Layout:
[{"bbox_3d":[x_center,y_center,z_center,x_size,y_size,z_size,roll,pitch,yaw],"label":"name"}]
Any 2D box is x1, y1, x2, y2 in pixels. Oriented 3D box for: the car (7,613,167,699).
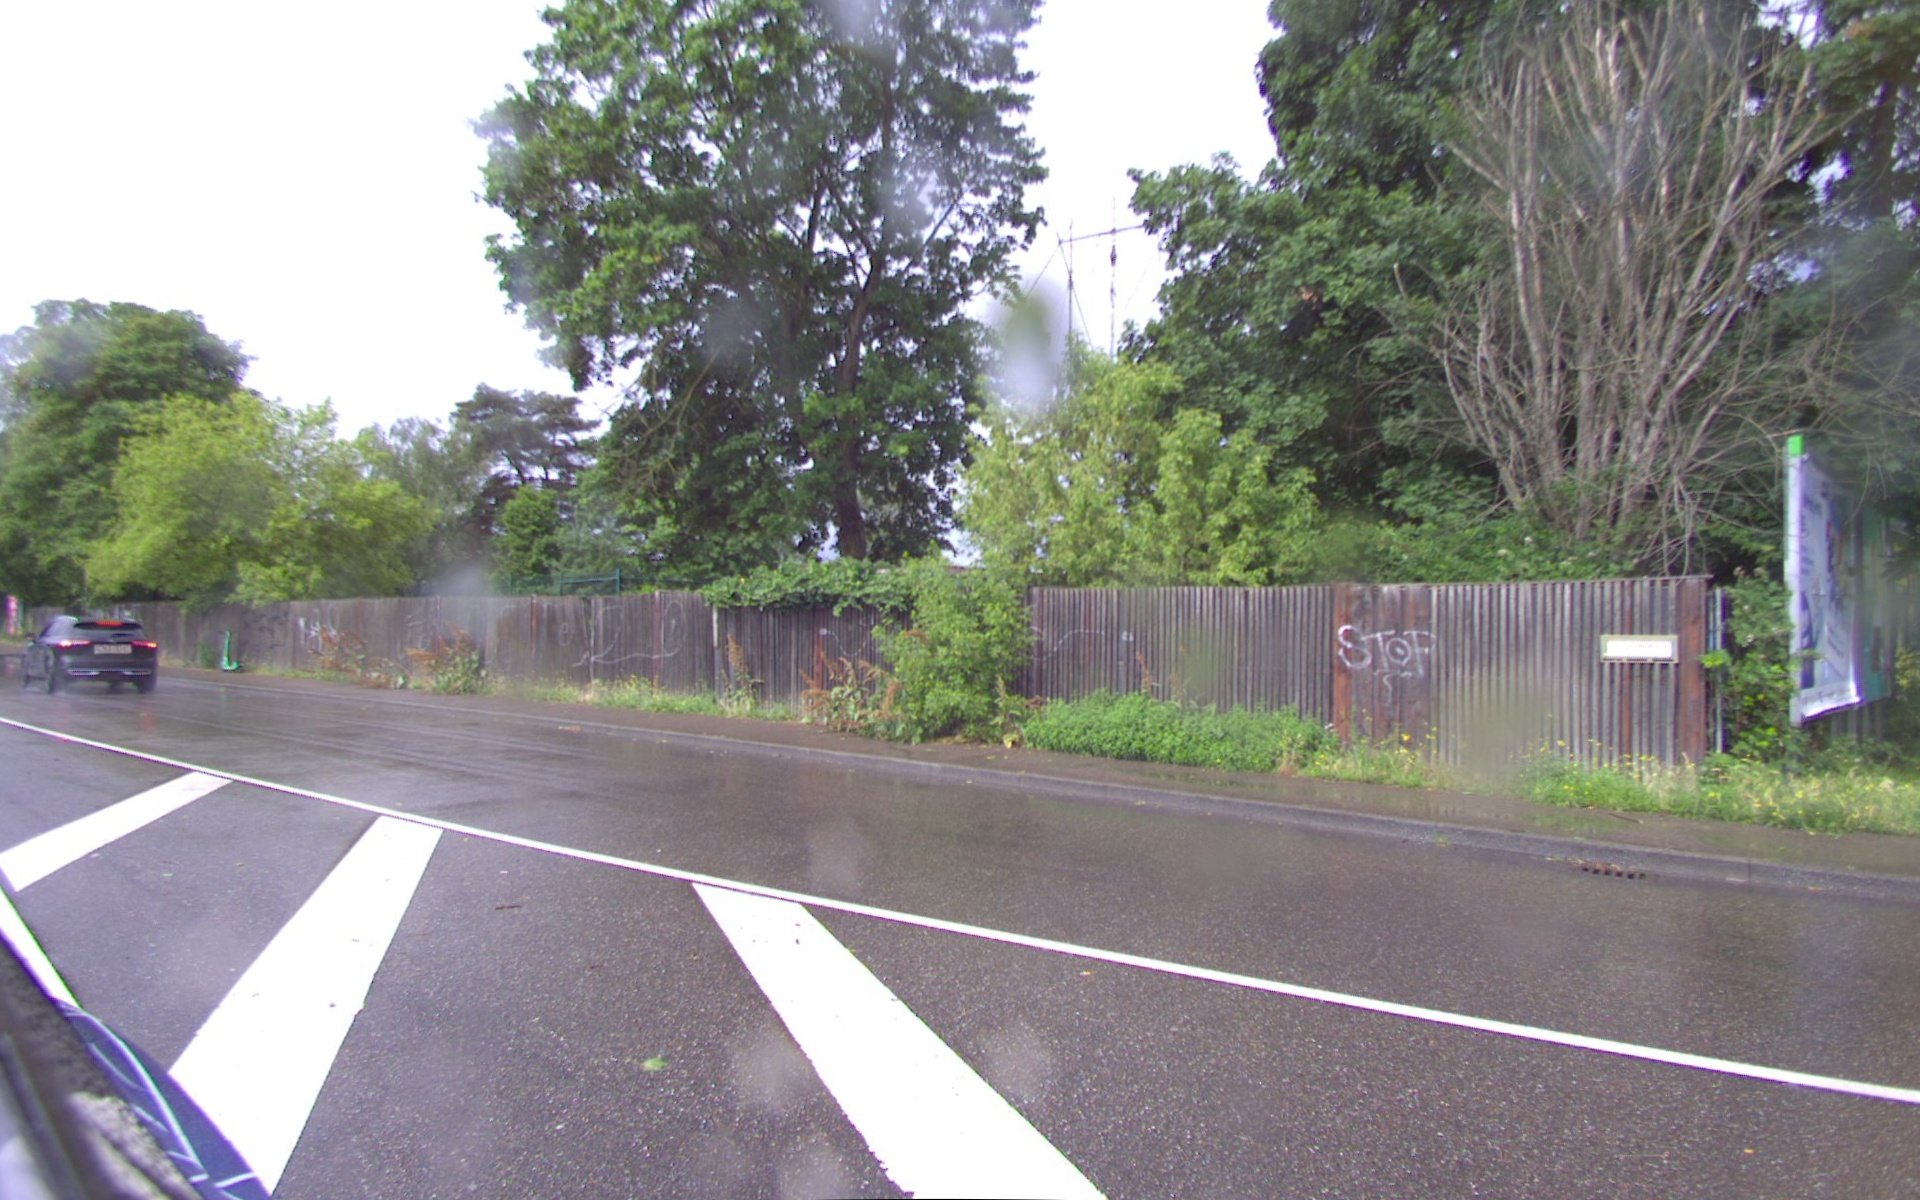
[{"bbox_3d":[-19.255,1.206,22.285,3.993,1.722,1.833,-2,-3,37],"label":"car"}]
